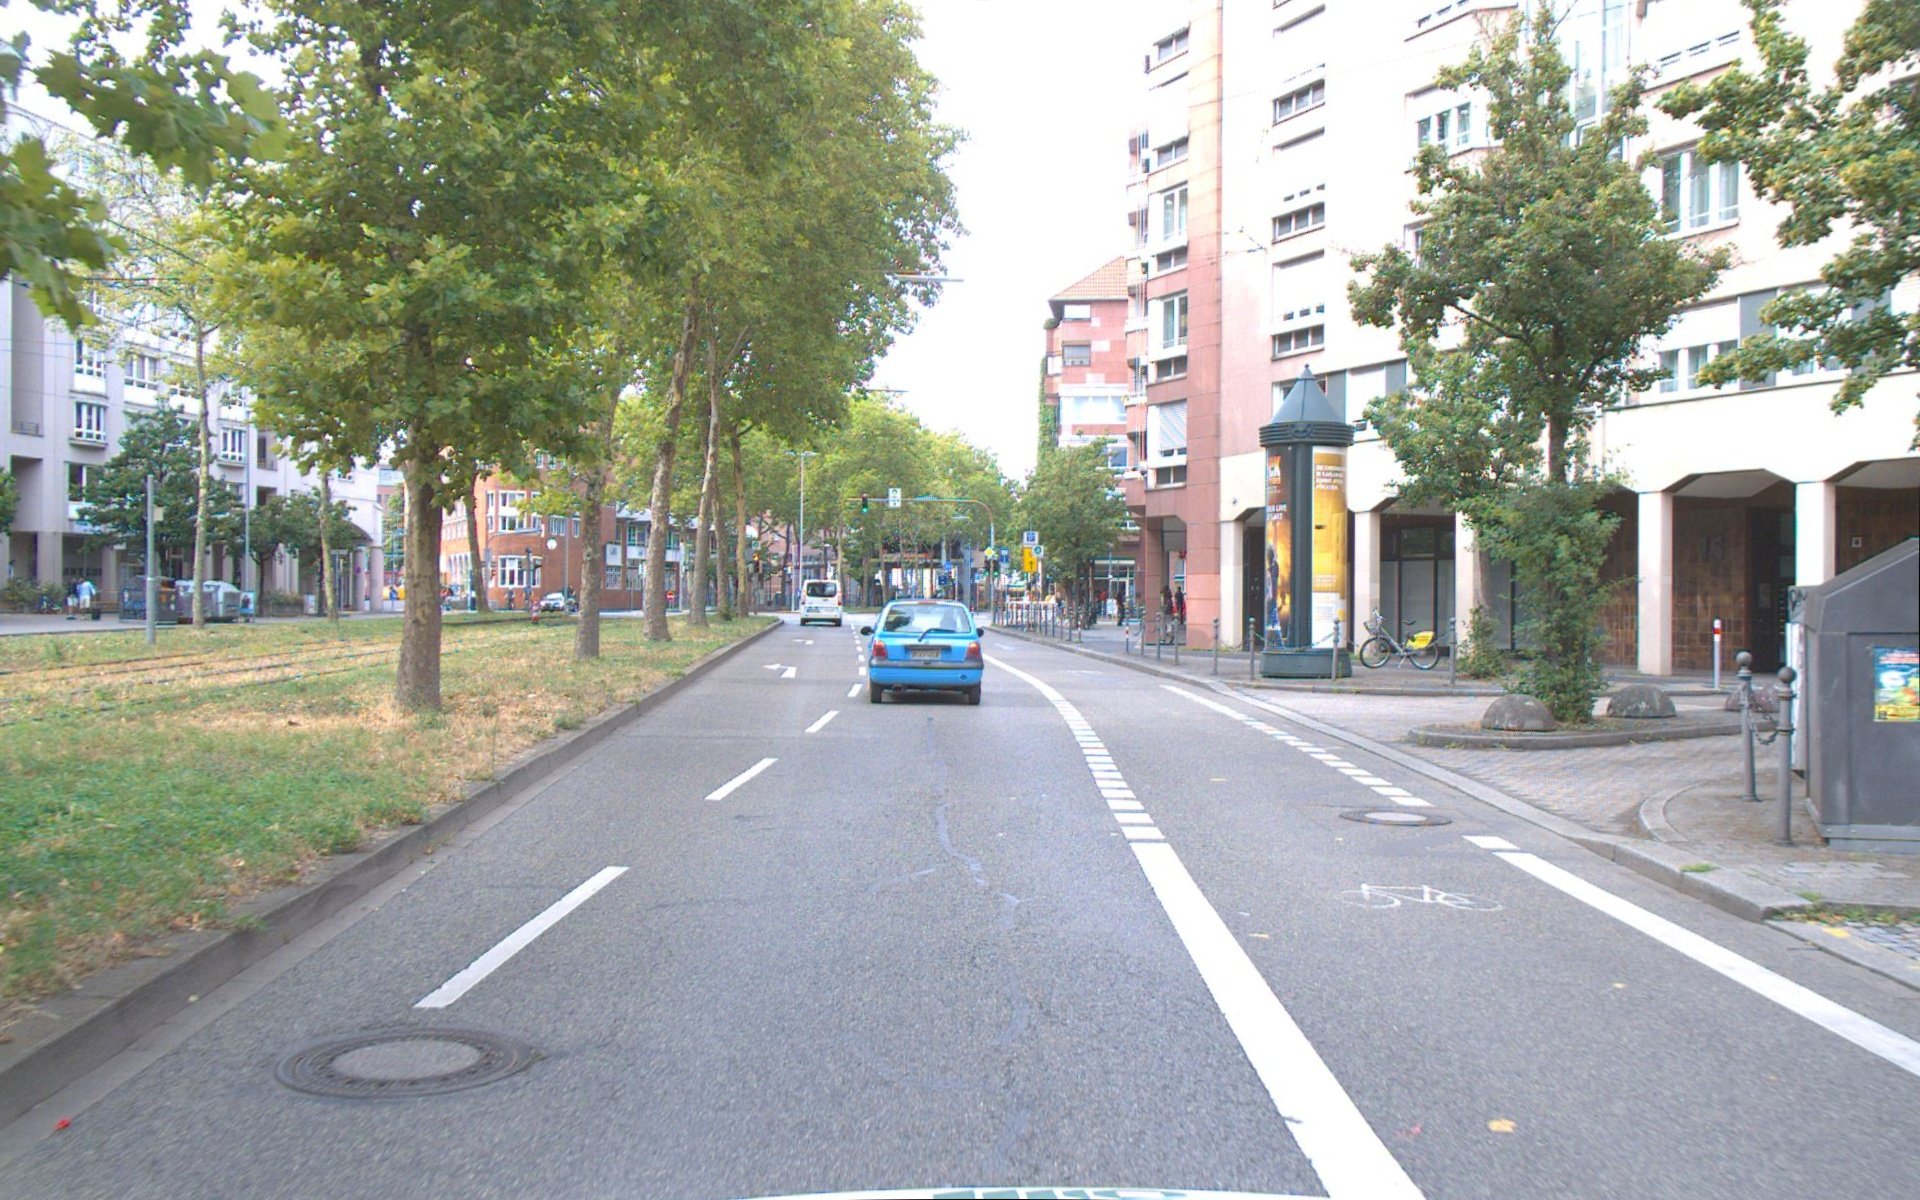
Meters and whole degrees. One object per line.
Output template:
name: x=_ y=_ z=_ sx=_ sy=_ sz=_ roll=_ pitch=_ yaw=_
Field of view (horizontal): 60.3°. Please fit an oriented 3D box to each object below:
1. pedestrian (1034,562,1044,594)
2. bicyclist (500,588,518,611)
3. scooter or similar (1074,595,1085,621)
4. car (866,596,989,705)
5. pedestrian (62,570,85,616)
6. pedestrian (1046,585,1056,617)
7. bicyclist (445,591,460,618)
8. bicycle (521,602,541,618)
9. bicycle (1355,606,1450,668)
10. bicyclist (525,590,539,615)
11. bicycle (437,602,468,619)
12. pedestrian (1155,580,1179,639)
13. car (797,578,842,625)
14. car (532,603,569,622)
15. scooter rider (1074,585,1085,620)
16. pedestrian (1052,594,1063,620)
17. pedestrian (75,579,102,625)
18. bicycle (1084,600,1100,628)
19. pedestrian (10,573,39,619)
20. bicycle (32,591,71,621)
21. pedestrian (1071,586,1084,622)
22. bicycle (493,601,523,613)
pedestrian: x=4.060 y=-1.127 z=84.934 sx=0.506 sy=1.644 sz=0.851 roll=0 pitch=0 yaw=1
bicyclist: x=-31.122 y=-0.038 z=114.109 sx=1.025 sy=1.590 sz=0.574 roll=0 pitch=0 yaw=-41
scooter or similar: x=5.577 y=0.365 z=77.254 sx=0.464 sy=1.227 sz=1.331 roll=0 pitch=0 yaw=2
car: x=-0.540 y=0.668 z=23.862 sx=1.608 sy=1.410 sz=3.840 roll=1 pitch=0 yaw=-4
pedestrian: x=-33.670 y=-0.269 z=62.813 sx=0.541 sy=1.735 sz=0.626 roll=0 pitch=0 yaw=0
pedestrian: x=4.675 y=0.056 z=85.004 sx=0.506 sy=1.644 sz=0.851 roll=0 pitch=0 yaw=2
bicyclist: x=-33.135 y=0.288 z=107.981 sx=0.777 sy=1.702 sz=0.565 roll=1 pitch=0 yaw=-41
bicycle: x=-30.039 y=0.670 z=115.898 sx=0.676 sy=1.111 sz=1.878 roll=0 pitch=0 yaw=8
bicycle: x=8.494 y=0.705 z=31.797 sx=1.633 sy=1.148 sz=0.667 roll=-1 pitch=-1 yaw=38
bicyclist: x=-30.017 y=0.164 z=116.011 sx=0.675 sy=1.702 sz=0.954 roll=0 pitch=0 yaw=7
bicycle: x=-33.120 y=0.666 z=107.997 sx=1.860 sy=1.111 sz=0.569 roll=0 pitch=0 yaw=-41
pedestrian: x=5.980 y=0.268 z=47.801 sx=0.532 sy=1.678 sz=0.825 roll=0 pitch=0 yaw=17
car: x=-6.095 y=0.043 z=72.273 sx=1.893 sy=1.959 sz=4.952 roll=0 pitch=0 yaw=-4
car: x=-27.886 y=0.826 z=112.669 sx=1.695 sy=1.267 sz=4.530 roll=0 pitch=0 yaw=-5
scooter rider: x=5.569 y=0.116 z=76.931 sx=0.451 sy=1.584 sz=0.565 roll=0 pitch=0 yaw=0
pedestrian: x=5.863 y=0.418 z=99.608 sx=0.661 sy=1.565 sz=0.947 roll=0 pitch=0 yaw=3
pedestrian: x=-33.081 y=0.062 z=62.809 sx=0.541 sy=1.735 sz=0.884 roll=0 pitch=0 yaw=0
bicycle: x=5.392 y=0.566 z=67.666 sx=0.599 sy=1.137 sz=1.805 roll=0 pitch=0 yaw=3
pedestrian: x=-38.160 y=-0.167 z=67.457 sx=0.753 sy=1.841 sz=0.693 roll=0 pitch=0 yaw=5
bicycle: x=-37.339 y=0.231 z=67.983 sx=0.522 sy=1.233 sz=1.840 roll=0 pitch=0 yaw=3
pedestrian: x=6.129 y=0.228 z=86.203 sx=0.662 sy=1.860 sz=0.851 roll=0 pitch=0 yaw=3
bicycle: x=-31.171 y=0.482 z=114.060 sx=1.970 sy=0.850 sz=0.570 roll=0 pitch=0 yaw=-41
